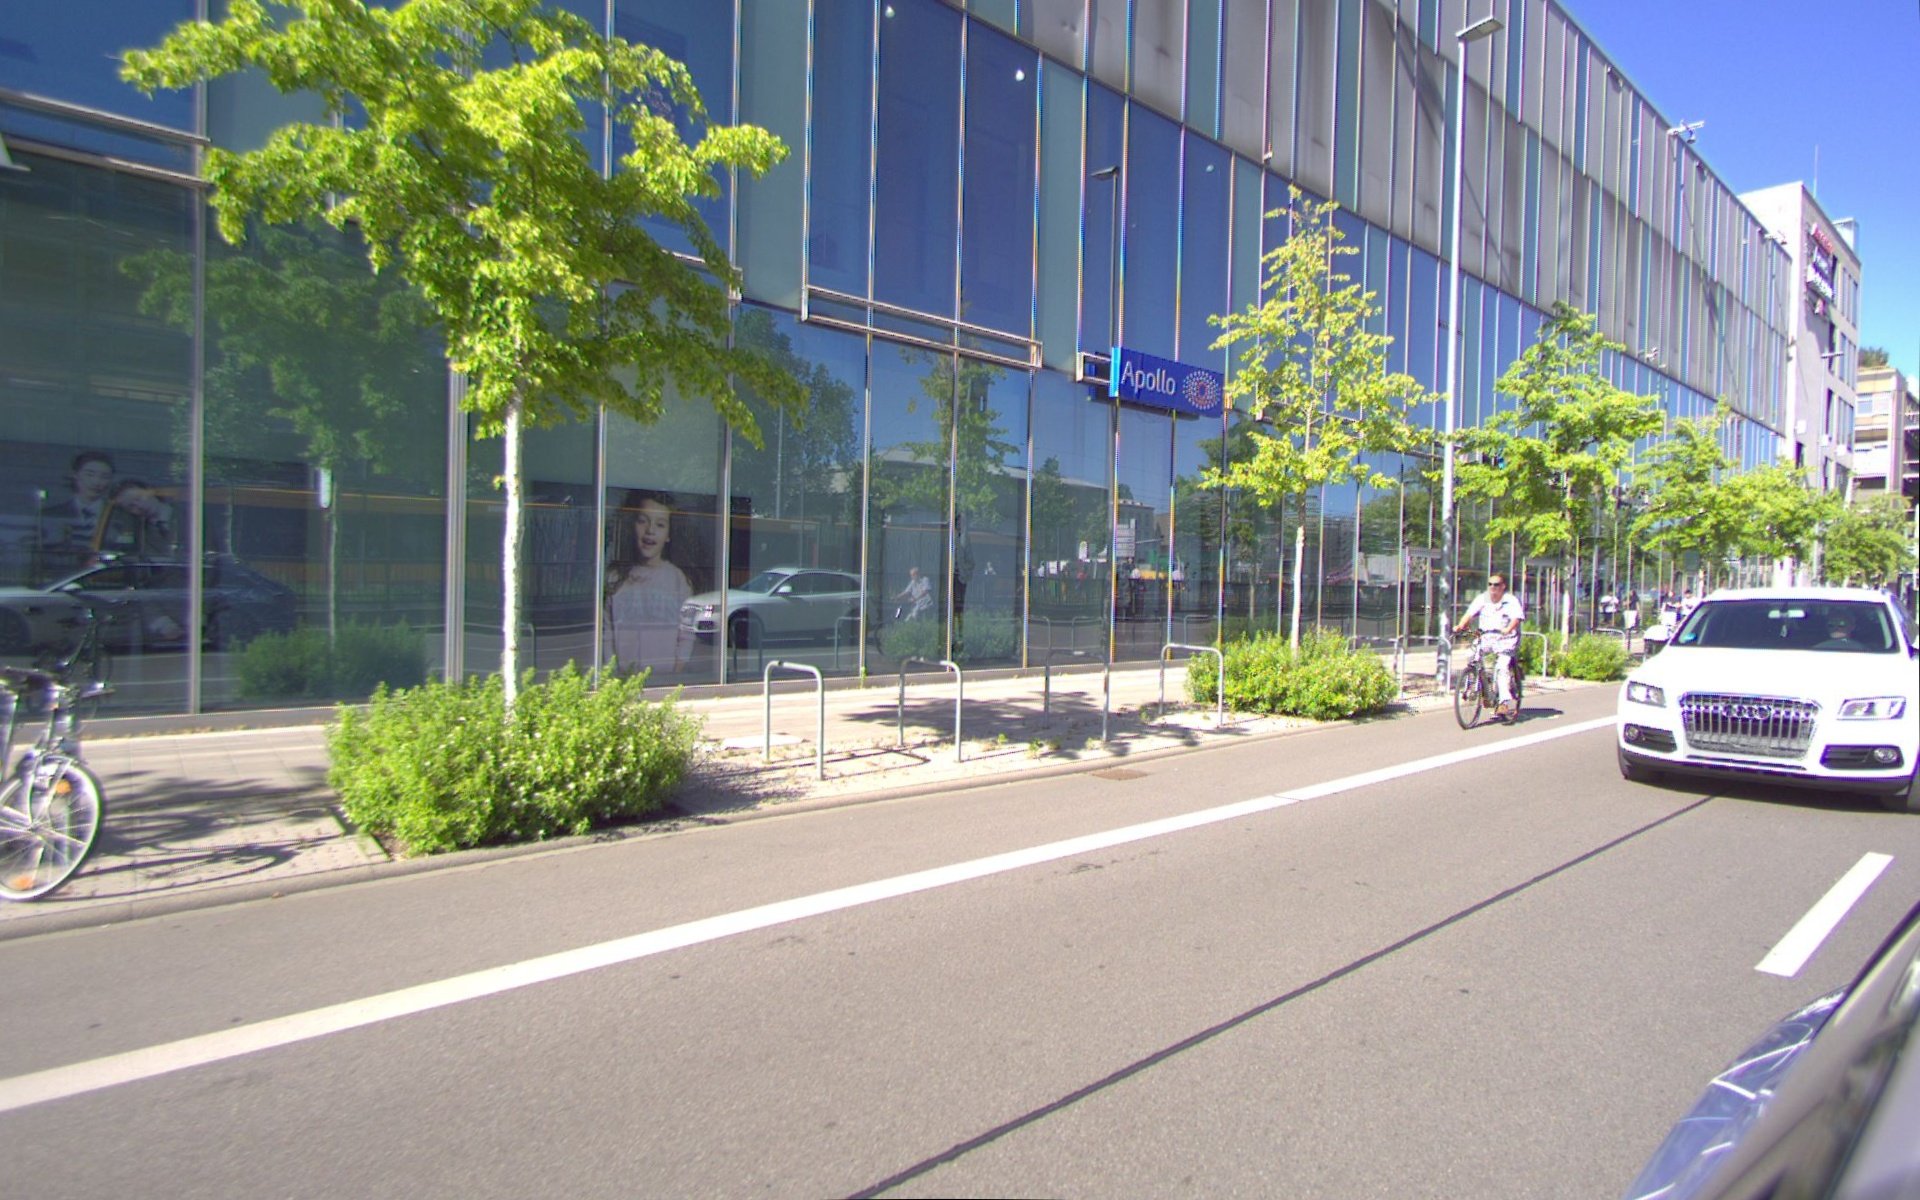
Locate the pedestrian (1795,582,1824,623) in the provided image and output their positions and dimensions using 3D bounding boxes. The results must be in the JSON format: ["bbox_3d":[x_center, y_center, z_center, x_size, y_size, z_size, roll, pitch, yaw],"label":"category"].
[{"bbox_3d":[38.839,0.097,46.267,1.047,1.823,0.730,1,3,-40],"label":"pedestrian"}]

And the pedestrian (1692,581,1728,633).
[{"bbox_3d":[24.780,0.234,33.443,0.885,1.679,0.821,0,0,-44],"label":"pedestrian"}]

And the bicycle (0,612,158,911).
[{"bbox_3d":[-4.735,0.712,5.162,1.880,1.165,0.662,4,3,41],"label":"bicycle"}]

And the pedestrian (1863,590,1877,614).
[{"bbox_3d":[65.619,0.136,72.947,0.659,1.632,0.519,4,3,42],"label":"pedestrian"}]

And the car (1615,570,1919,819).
[{"bbox_3d":[7.350,0.596,8.740,4.337,1.633,1.822,0,1,-43],"label":"car"}]

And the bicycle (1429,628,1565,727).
[{"bbox_3d":[6.454,0.872,12.095,2.294,0.996,0.729,0,2,-44],"label":"bicycle"}]

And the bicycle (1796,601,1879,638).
[{"bbox_3d":[32.550,0.692,37.567,0.932,1.220,2.094,1,3,-33],"label":"bicycle"}]

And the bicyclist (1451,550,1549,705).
[{"bbox_3d":[6.427,0.299,12.038,0.981,1.758,0.725,0,1,-44],"label":"bicyclist"}]

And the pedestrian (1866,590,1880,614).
[{"bbox_3d":[65.294,0.131,72.383,0.659,1.632,0.519,4,3,42],"label":"pedestrian"}]

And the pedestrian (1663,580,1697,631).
[{"bbox_3d":[24.466,0.185,34.408,0.885,1.678,0.707,0,3,-44],"label":"pedestrian"}]

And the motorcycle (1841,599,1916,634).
[{"bbox_3d":[39.181,0.676,43.212,0.886,1.340,2.197,1,2,-35],"label":"motorcycle"}]
